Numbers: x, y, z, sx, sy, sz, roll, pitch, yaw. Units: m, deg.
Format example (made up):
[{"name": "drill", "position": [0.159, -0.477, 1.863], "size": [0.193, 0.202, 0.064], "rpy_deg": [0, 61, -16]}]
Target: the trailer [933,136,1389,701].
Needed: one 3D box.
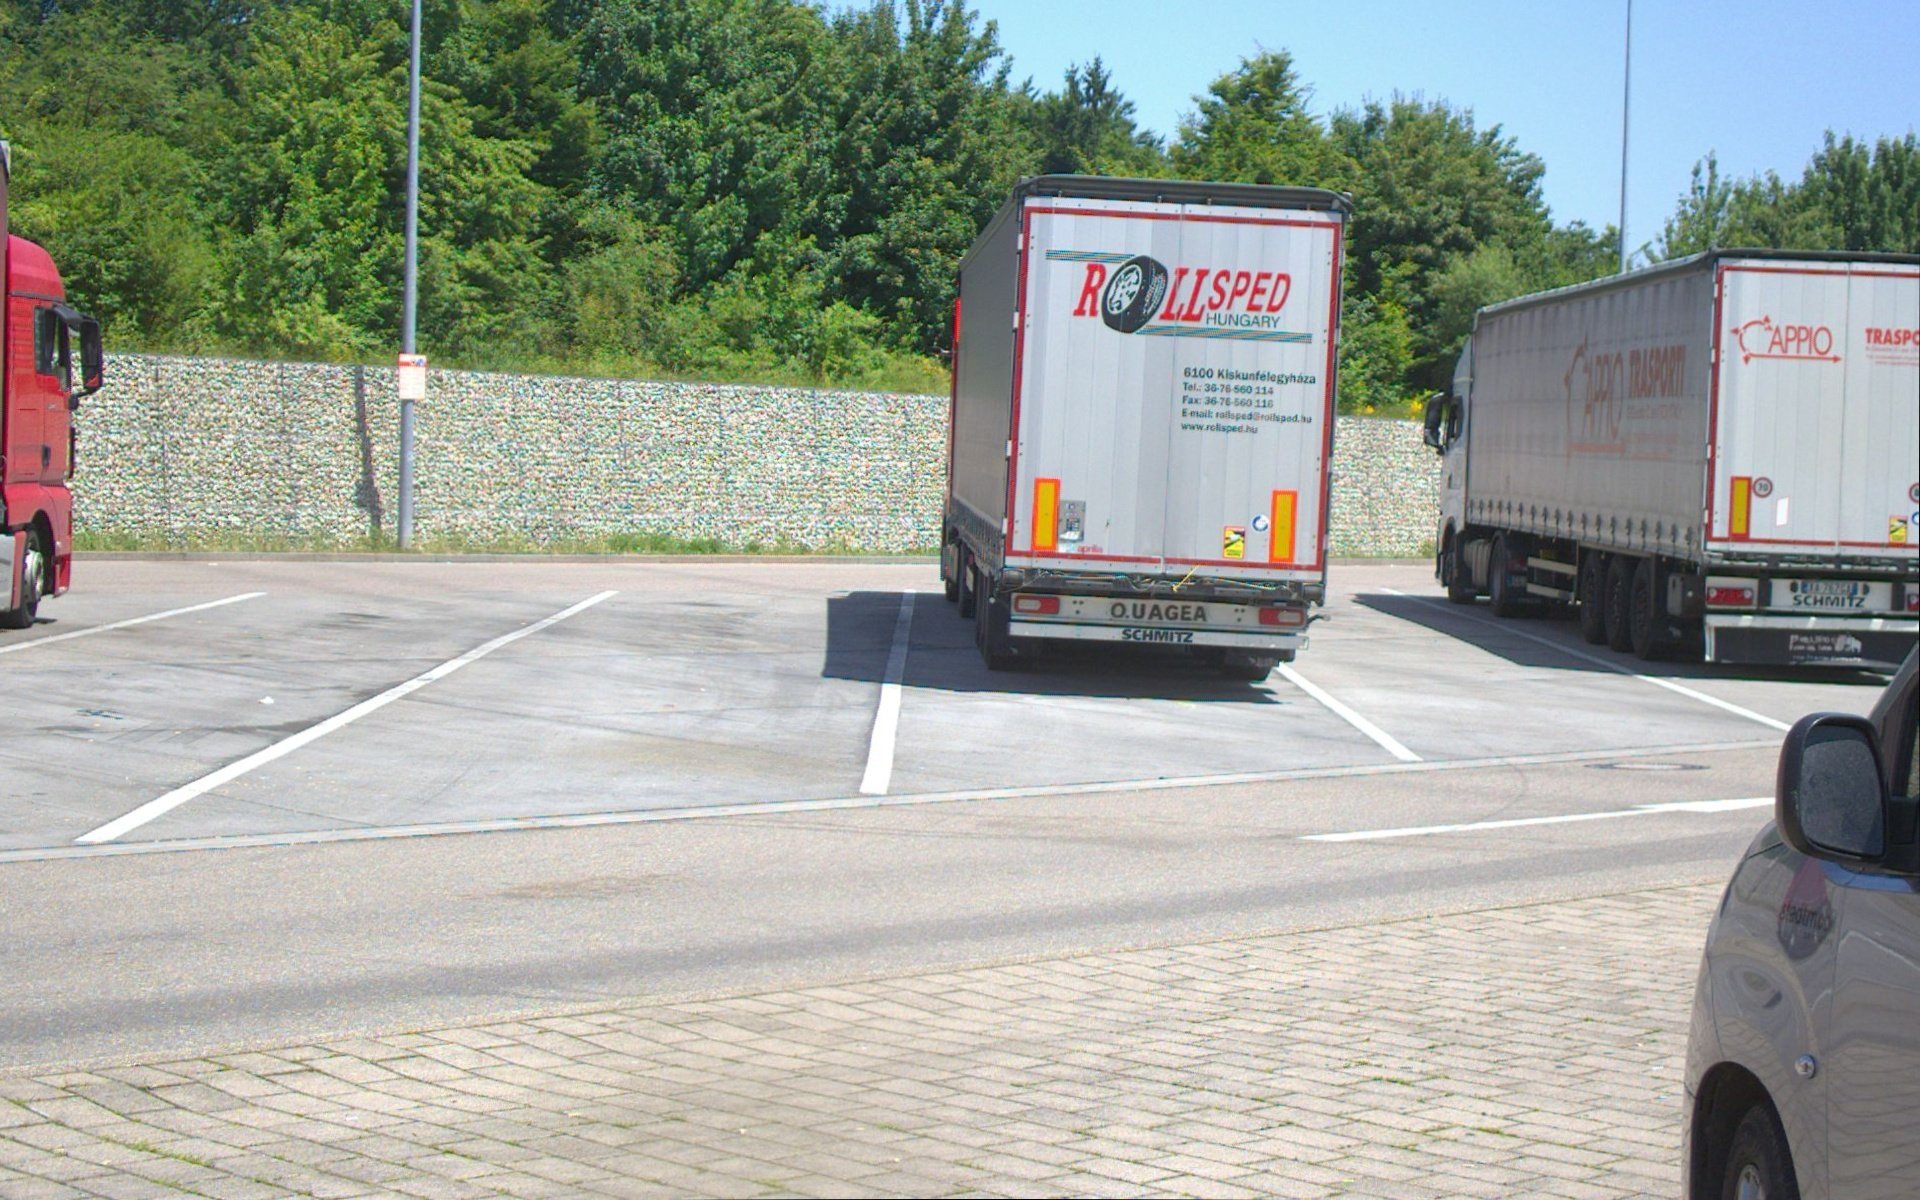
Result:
[{"name": "trailer", "position": [1.478, -1.699, 32.646], "size": [3.069, 4.213, 12.810], "rpy_deg": [2, 3, -2]}]

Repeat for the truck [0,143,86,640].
[{"name": "truck", "position": [-9.231, -1.704, 27.663], "size": [2.743, 4.067, 6.830], "rpy_deg": [1, 2, -1]}]

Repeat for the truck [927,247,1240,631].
[{"name": "truck", "position": [1.263, -1.857, 39.414], "size": [3.026, 3.915, 6.847], "rpy_deg": [2, 3, -2]}]

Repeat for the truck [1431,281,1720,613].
[{"name": "truck", "position": [8.027, -1.992, 45.478], "size": [2.757, 4.110, 5.285], "rpy_deg": [1, 2, -1]}]

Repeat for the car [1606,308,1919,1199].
[{"name": "car", "position": [2.137, 0.537, 3.803], "size": [1.825, 1.747, 4.001], "rpy_deg": [1, 2, -4]}]

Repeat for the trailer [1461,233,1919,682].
[{"name": "trailer", "position": [8.140, -1.540, 38.484], "size": [2.876, 4.110, 13.572], "rpy_deg": [1, 2, -1]}]

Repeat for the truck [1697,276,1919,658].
[{"name": "truck", "position": [11.730, -1.477, 39.815], "size": [2.904, 4.110, 14.528], "rpy_deg": [3, 2, -1]}]
